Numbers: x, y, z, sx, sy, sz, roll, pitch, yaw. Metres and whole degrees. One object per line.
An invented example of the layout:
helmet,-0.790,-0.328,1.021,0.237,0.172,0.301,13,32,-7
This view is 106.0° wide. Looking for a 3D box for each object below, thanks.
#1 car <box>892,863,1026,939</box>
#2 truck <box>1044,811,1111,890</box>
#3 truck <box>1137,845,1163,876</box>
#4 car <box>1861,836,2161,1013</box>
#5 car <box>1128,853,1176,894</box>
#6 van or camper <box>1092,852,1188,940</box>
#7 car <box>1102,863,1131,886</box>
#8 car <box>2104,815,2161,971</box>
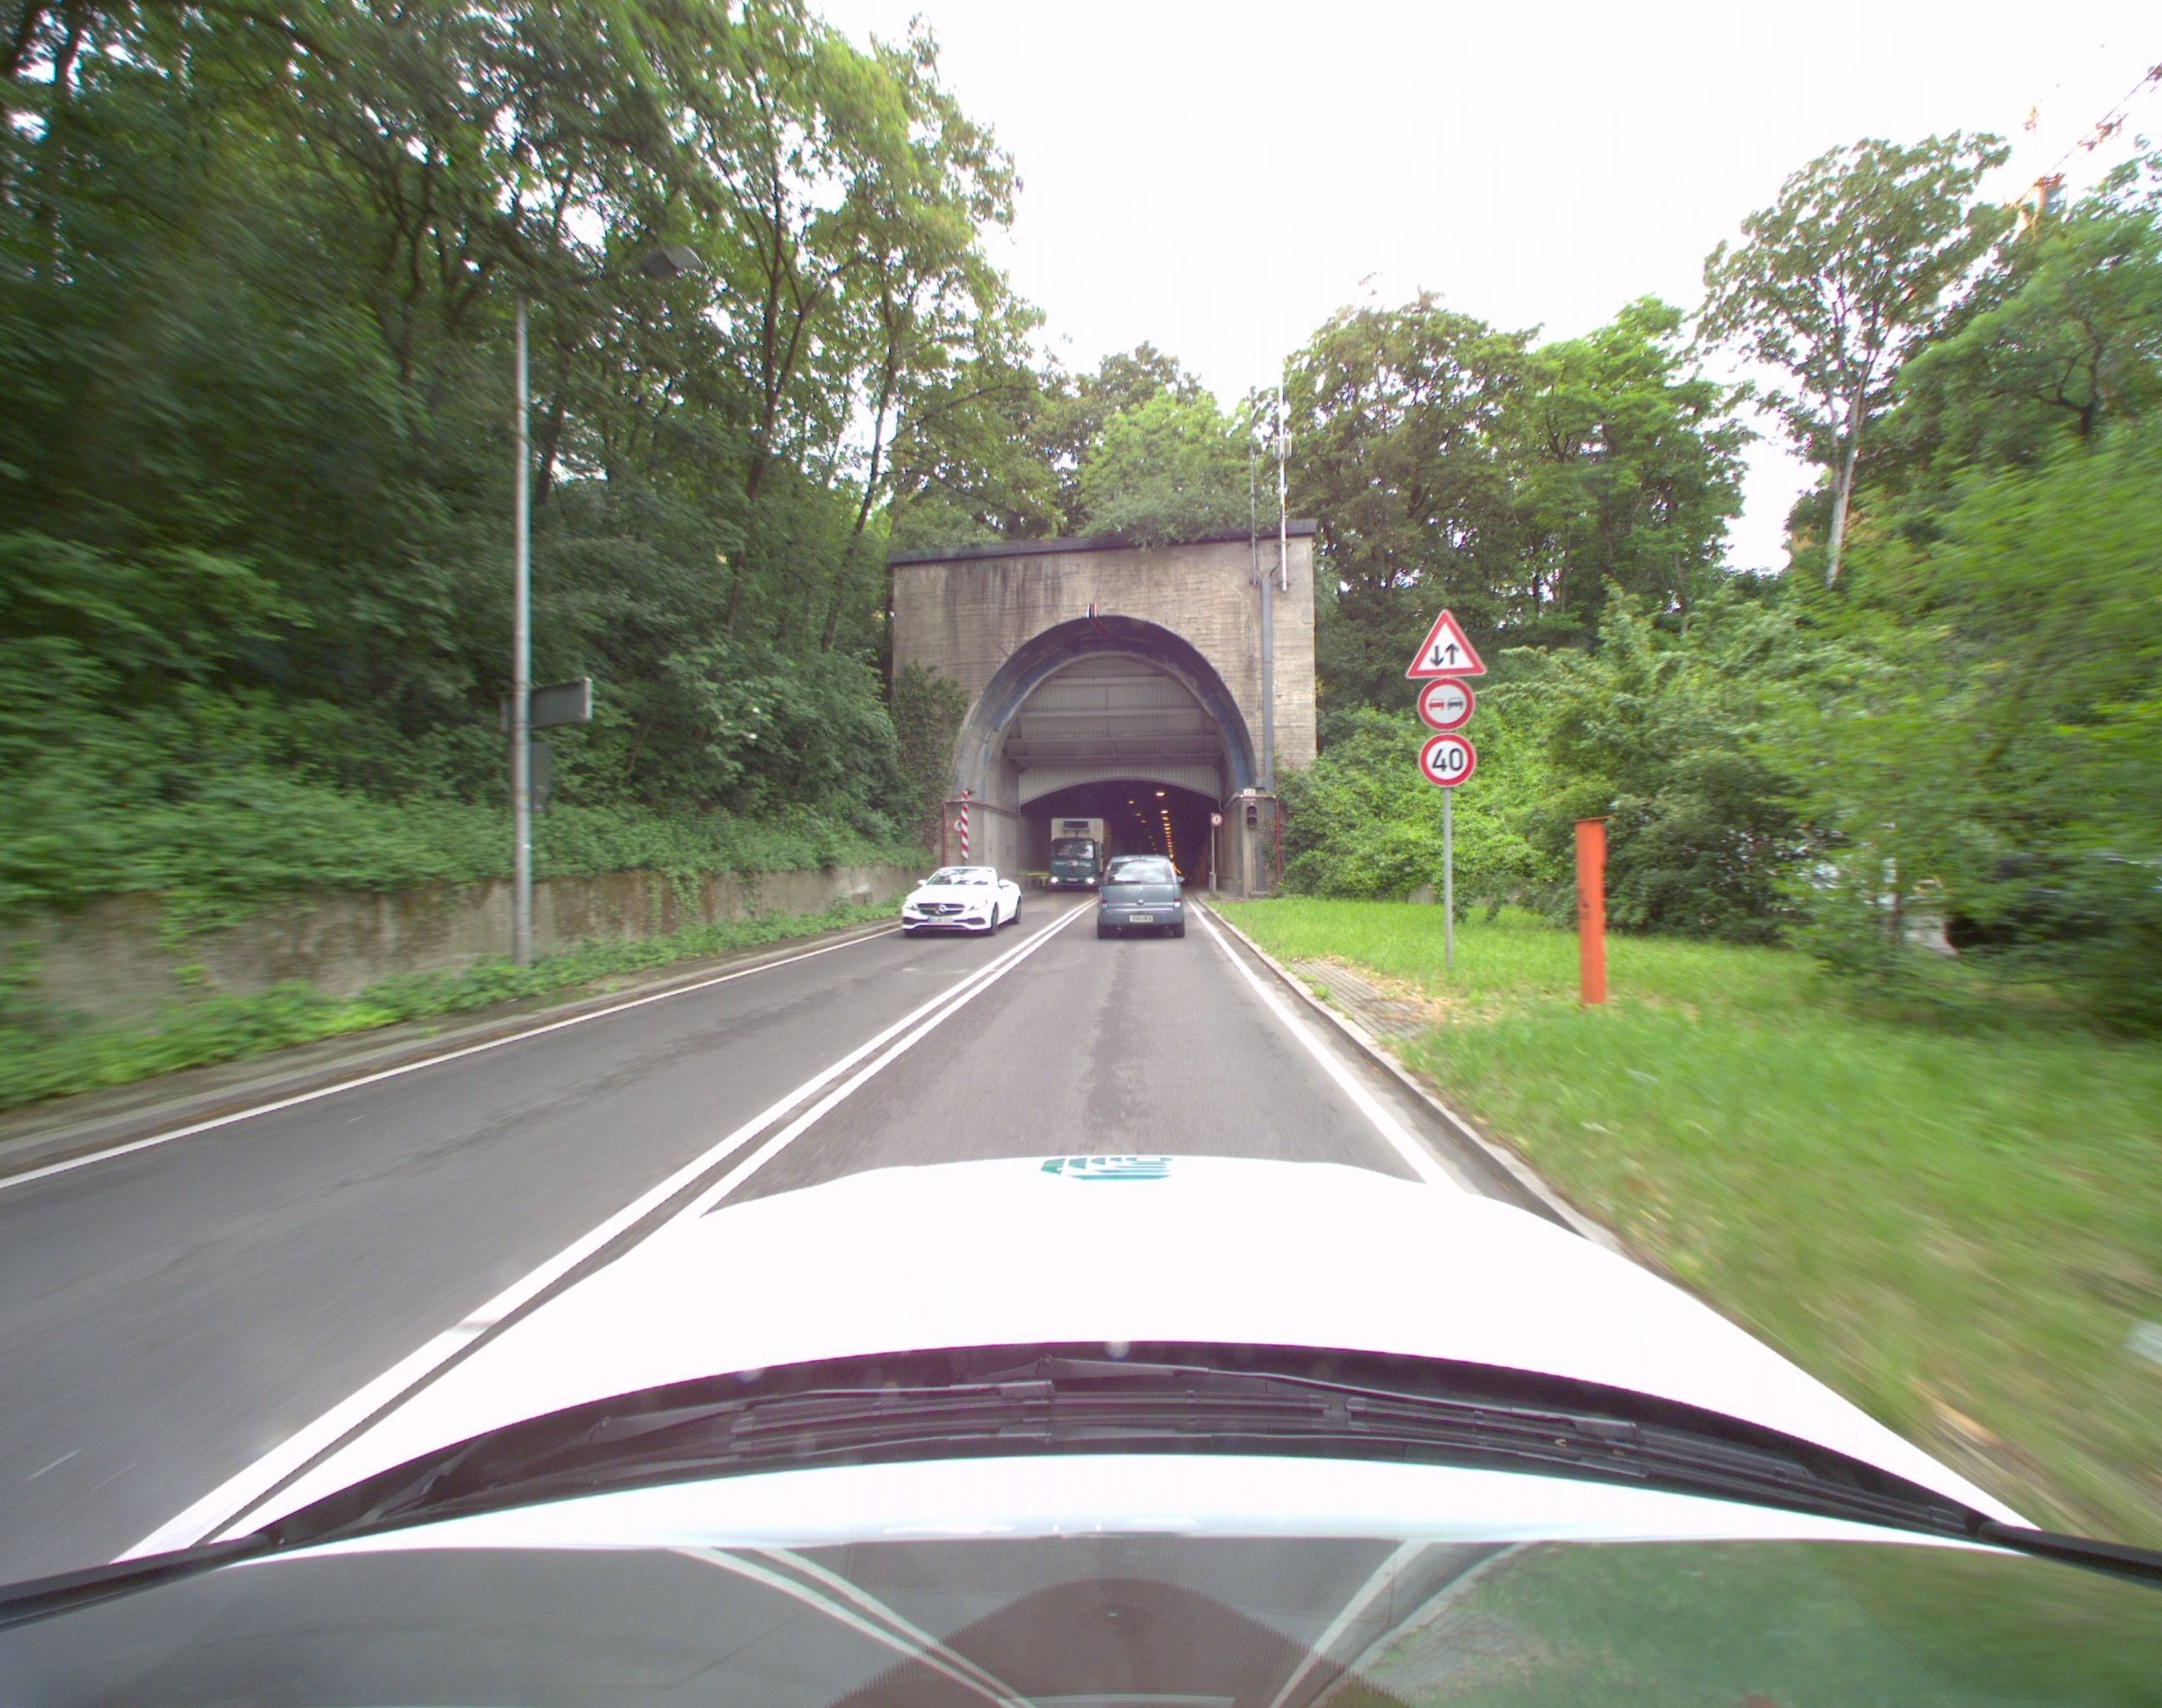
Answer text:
car,-2.479,0.926,17.718,1.859,1.371,4.462,-1,0,5
truck,-0.019,-0.139,41.797,2.662,3.667,7.529,0,-1,6
truck,9.160,0.941,107.658,2.797,3.717,7.562,-1,-4,9
car,11.377,0.669,8.600,1.800,1.666,4.891,-3,-1,5
car,3.385,0.860,38.039,1.982,1.653,4.009,-2,1,8
van or camper,1.271,0.794,16.866,1.727,1.578,3.651,-2,-1,5
car,2.756,1.562,62.306,1.869,1.676,4.384,0,-1,6
car,13.815,0.440,7.906,1.847,1.879,4.891,-1,-1,5
